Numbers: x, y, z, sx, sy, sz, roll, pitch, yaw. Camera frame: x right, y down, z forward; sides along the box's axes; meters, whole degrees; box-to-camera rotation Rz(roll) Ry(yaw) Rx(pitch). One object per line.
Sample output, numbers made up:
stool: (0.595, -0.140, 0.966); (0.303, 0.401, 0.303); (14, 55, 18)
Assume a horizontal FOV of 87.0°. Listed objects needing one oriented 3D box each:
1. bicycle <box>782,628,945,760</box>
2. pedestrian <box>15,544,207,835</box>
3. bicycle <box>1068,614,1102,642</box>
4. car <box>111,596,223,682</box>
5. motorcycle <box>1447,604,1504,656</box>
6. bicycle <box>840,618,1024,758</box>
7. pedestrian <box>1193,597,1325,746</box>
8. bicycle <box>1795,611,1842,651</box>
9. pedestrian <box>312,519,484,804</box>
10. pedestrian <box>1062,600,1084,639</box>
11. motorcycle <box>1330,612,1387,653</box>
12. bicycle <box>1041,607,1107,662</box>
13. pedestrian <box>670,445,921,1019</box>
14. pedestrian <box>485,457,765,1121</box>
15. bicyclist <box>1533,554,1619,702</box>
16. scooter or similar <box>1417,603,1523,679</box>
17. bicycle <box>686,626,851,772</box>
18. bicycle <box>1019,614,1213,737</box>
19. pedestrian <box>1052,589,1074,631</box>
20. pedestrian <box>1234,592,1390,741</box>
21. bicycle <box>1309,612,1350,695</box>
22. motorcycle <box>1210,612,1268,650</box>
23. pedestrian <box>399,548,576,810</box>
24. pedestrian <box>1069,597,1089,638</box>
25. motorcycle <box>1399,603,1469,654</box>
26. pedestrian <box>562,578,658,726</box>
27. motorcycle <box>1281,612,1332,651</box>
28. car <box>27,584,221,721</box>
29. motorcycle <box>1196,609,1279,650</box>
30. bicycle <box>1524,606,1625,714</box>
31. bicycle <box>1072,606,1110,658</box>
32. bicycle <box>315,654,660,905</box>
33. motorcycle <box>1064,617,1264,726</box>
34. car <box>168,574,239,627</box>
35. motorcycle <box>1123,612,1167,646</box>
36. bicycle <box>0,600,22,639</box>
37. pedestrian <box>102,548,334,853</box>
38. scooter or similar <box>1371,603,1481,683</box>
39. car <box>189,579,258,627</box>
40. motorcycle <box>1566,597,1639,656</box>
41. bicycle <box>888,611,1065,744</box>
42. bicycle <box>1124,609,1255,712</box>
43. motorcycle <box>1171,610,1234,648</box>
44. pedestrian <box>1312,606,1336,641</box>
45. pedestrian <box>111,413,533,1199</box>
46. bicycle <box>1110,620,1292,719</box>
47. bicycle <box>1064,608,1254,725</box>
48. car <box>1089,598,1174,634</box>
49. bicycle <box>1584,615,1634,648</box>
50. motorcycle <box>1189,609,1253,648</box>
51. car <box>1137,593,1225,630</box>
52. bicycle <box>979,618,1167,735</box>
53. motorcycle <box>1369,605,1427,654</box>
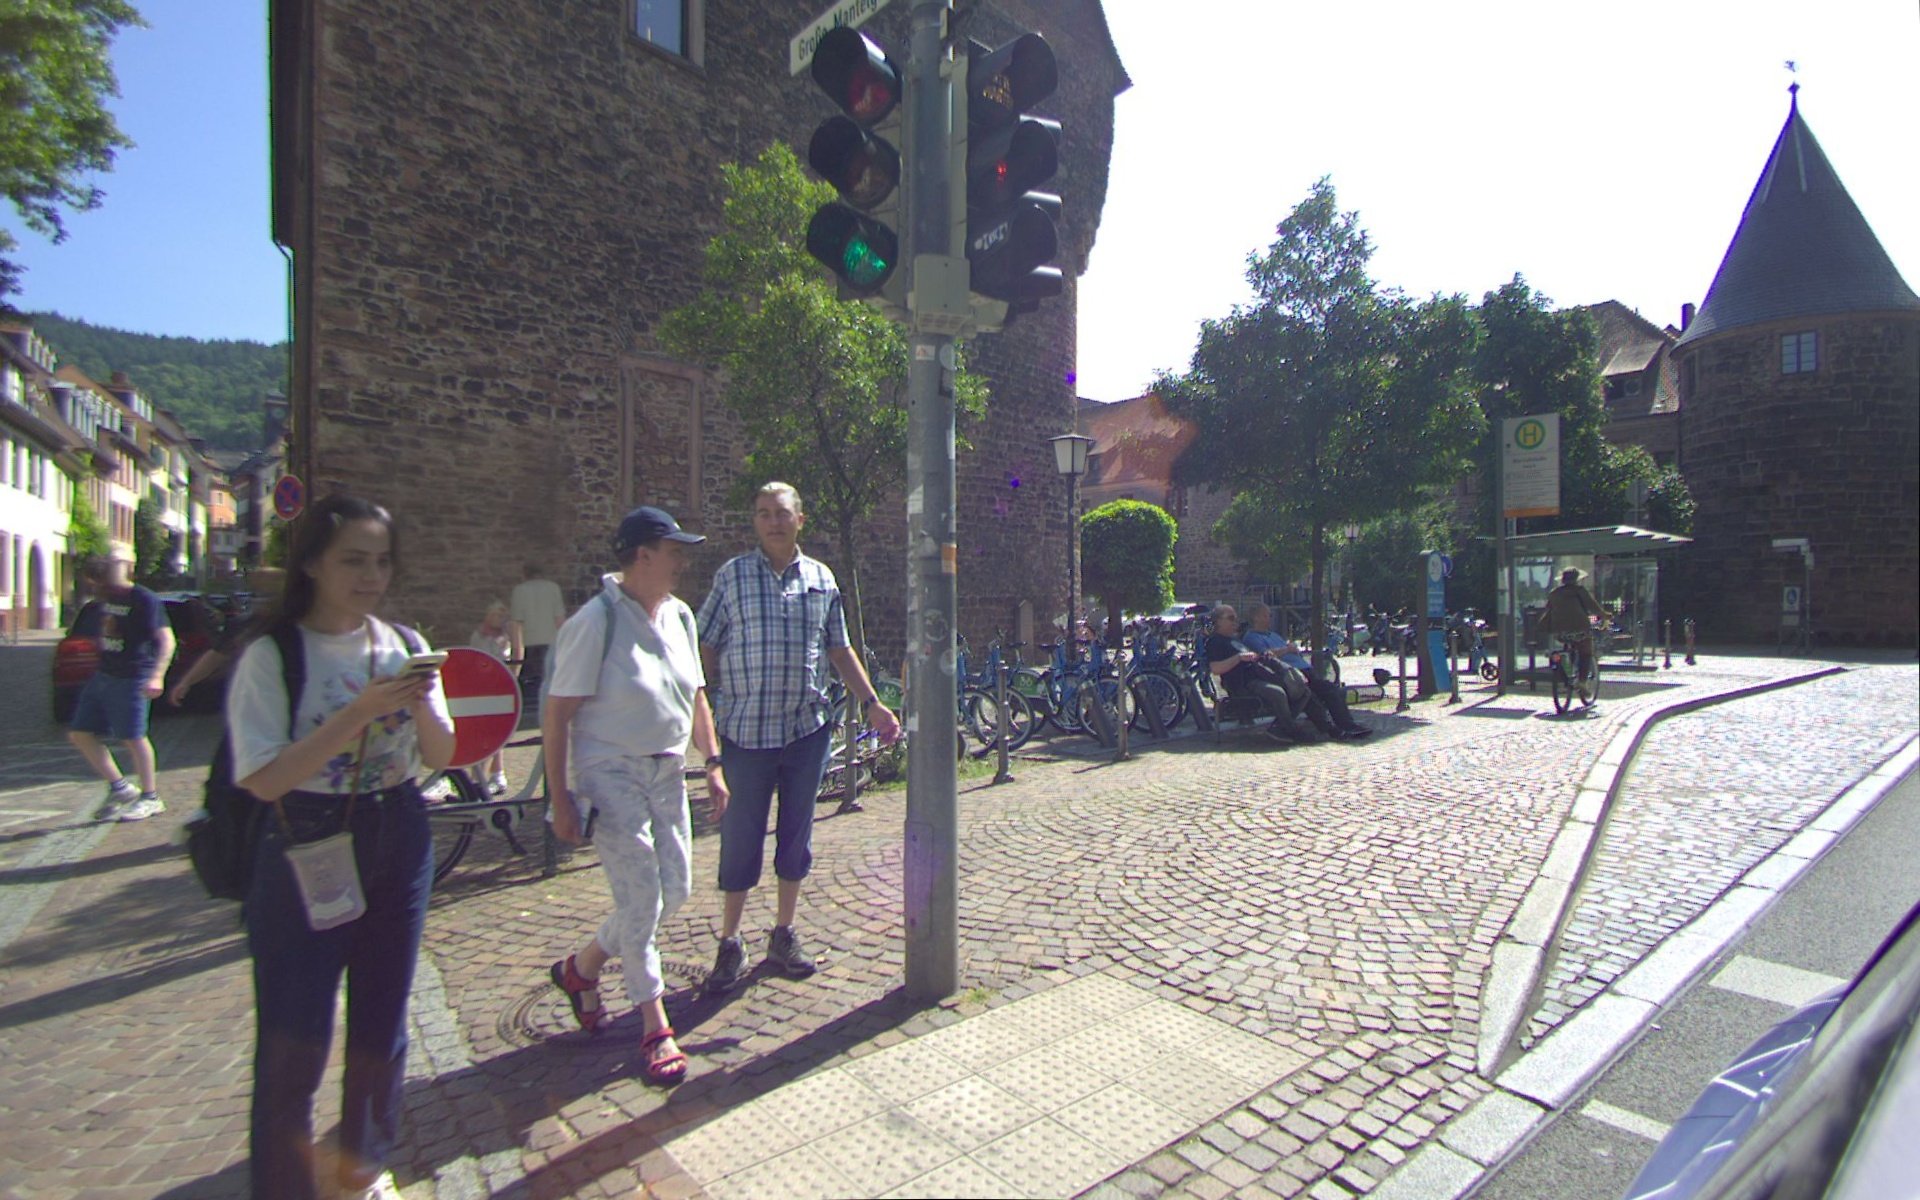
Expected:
bicycle: (-0.947, 0.830, 9.527); (0.597, 1.125, 1.795); (2, -2, -41)
pedestrian: (-6.095, 0.602, 7.322); (0.788, 1.966, 0.792); (0, -1, -14)
bicycle: (4.863, 1.074, 39.344); (0.421, 1.027, 1.688); (0, 1, 43)
car: (-15.311, 0.689, 19.554); (1.597, 1.518, 3.001); (0, 0, -39)
motorcycle: (13.184, 0.736, 25.861); (2.180, 1.252, 0.658); (0, 0, -45)
bicycle: (-0.327, 0.791, 9.799); (0.597, 1.214, 2.082); (2, -2, -41)
pedestrian: (2.773, 0.629, 9.410); (0.682, 1.298, 0.961); (0, -1, -42)
bicycle: (26.232, 0.930, 30.915); (1.812, 1.167, 0.844); (0, 0, -42)
pedestrian: (-4.207, 0.427, 7.614); (0.650, 1.985, 0.931); (0, -1, 28)
pedestrian: (4.862, 0.839, 43.696); (0.661, 1.650, 0.661); (1, -1, -36)
motorcycle: (11.517, 0.909, 29.232); (1.874, 1.108, 0.875); (0, 0, -45)
bicycle: (2.583, 0.743, 22.697); (0.524, 1.175, 1.899); (-1, 0, 39)
pedestrian: (-0.617, 0.428, 3.782); (0.717, 1.875, 0.617); (0, -1, -40)
pedestrian: (-1.012, 0.490, 3.065); (0.654, 1.734, 0.527); (0, -1, -41)
bicyclist: (7.200, 0.311, 11.826); (0.708, 1.649, 0.873); (-1, -1, 42)
scooter or similar: (8.627, 0.683, 17.165); (0.640, 1.231, 1.432); (0, -2, -41)
bicycle: (-1.681, 0.789, 8.682); (0.553, 1.125, 1.795); (2, -2, -41)
bicycle: (1.643, 0.770, 11.006); (0.763, 1.214, 2.082); (2, -2, -42)
pedestrian: (4.408, 0.407, 43.173); (0.661, 1.763, 0.661); (1, -1, -36)
pedestrian: (3.367, 0.594, 9.744); (0.682, 1.324, 1.249); (0, 0, -42)
bicycle: (5.527, 0.766, 15.201); (0.540, 1.145, 1.727); (0, 0, 19)
motorcycle: (8.930, 0.994, 32.364); (1.983, 1.159, 0.742); (0, -2, -38)
pedestrian: (-3.473, 0.533, 7.470); (0.798, 1.776, 0.899); (0, -1, 30)
pedestrian: (5.171, 0.745, 43.993); (0.594, 1.763, 0.661); (1, -1, -36)
motorcycle: (12.344, 0.719, 26.305); (2.230, 1.252, 0.740); (0, 0, -39)
pedestrian: (-4.415, 0.623, 12.773); (0.944, 1.782, 0.759); (0, -1, -41)
motorcycle: (10.070, 0.907, 29.342); (1.897, 1.095, 0.630); (2, -2, -45)
car: (-12.155, 0.660, 14.980); (1.902, 1.723, 4.175); (0, 0, -35)
motorcycle: (8.238, 0.865, 30.155); (0.861, 1.162, 2.343); (0, -1, -37)
bicycle: (7.209, 0.645, 11.830); (0.688, 1.144, 1.979); (-1, 0, 41)
bicycle: (3.154, 0.740, 24.230); (0.540, 1.167, 1.915); (0, 0, 18)
bicycle: (-2.464, 0.870, 5.388); (1.552, 1.016, 0.509); (-4, 1, -39)
motorcycle: (2.255, 0.763, 11.477); (0.763, 1.118, 2.206); (2, -2, -42)
car: (-30.198, 0.021, 40.516); (1.961, 2.016, 4.088); (0, 0, -33)
motorcycle: (6.591, 1.025, 35.916); (0.597, 1.175, 1.887); (0, -2, 43)
bicycle: (-29.475, 0.611, 30.621); (0.489, 1.156, 1.802); (2, 0, 0)
pedestrian: (-4.727, 0.588, 6.539); (0.969, 1.787, 0.929); (0, 0, -19)
scooter or similar: (7.476, 0.681, 16.282); (0.640, 1.231, 1.432); (0, -2, -41)
car: (-32.449, 0.125, 44.703); (1.960, 2.016, 4.091); (0, 0, -29)
motorcycle: (14.956, 0.615, 23.527); (2.486, 1.310, 0.883); (2, -3, -45)
bicycle: (0.111, 0.738, 10.198); (0.518, 1.214, 2.082); (2, -3, -42)
bicycle: (3.042, 0.833, 13.566); (0.711, 1.214, 1.552); (1, -9, -34)
motorcycle: (8.142, 0.955, 33.936); (2.003, 1.252, 0.600); (0, 0, -15)
pedestrian: (15.193, 0.965, 42.209); (0.660, 1.439, 0.663); (-2, 0, -10)
pedestrian: (-1.388, 0.533, 2.189); (0.670, 1.697, 0.716); (0, -1, -41)
bicycle: (2.825, 0.787, 12.044); (0.787, 1.079, 2.027); (2, -2, -42)
bicycle: (2.214, 0.717, 11.525); (0.763, 1.214, 2.082); (2, -2, -42)
car: (9.095, 0.813, 53.414); (4.346, 1.636, 1.999); (-3, 2, -38)
bicycle: (20.954, 1.010, 32.679); (1.679, 1.015, 0.660); (0, -1, -31)
motorcycle: (8.603, 0.934, 33.410); (2.003, 1.252, 0.600); (0, 0, -16)
car: (11.134, 0.555, 50.960); (4.346, 1.636, 1.999); (-3, 2, -38)
bicycle: (1.123, 0.745, 10.526); (0.594, 1.099, 2.082); (2, -2, -42)
motorcycle: (11.671, 0.778, 26.929); (1.774, 1.247, 0.671); (1, -2, -39)
